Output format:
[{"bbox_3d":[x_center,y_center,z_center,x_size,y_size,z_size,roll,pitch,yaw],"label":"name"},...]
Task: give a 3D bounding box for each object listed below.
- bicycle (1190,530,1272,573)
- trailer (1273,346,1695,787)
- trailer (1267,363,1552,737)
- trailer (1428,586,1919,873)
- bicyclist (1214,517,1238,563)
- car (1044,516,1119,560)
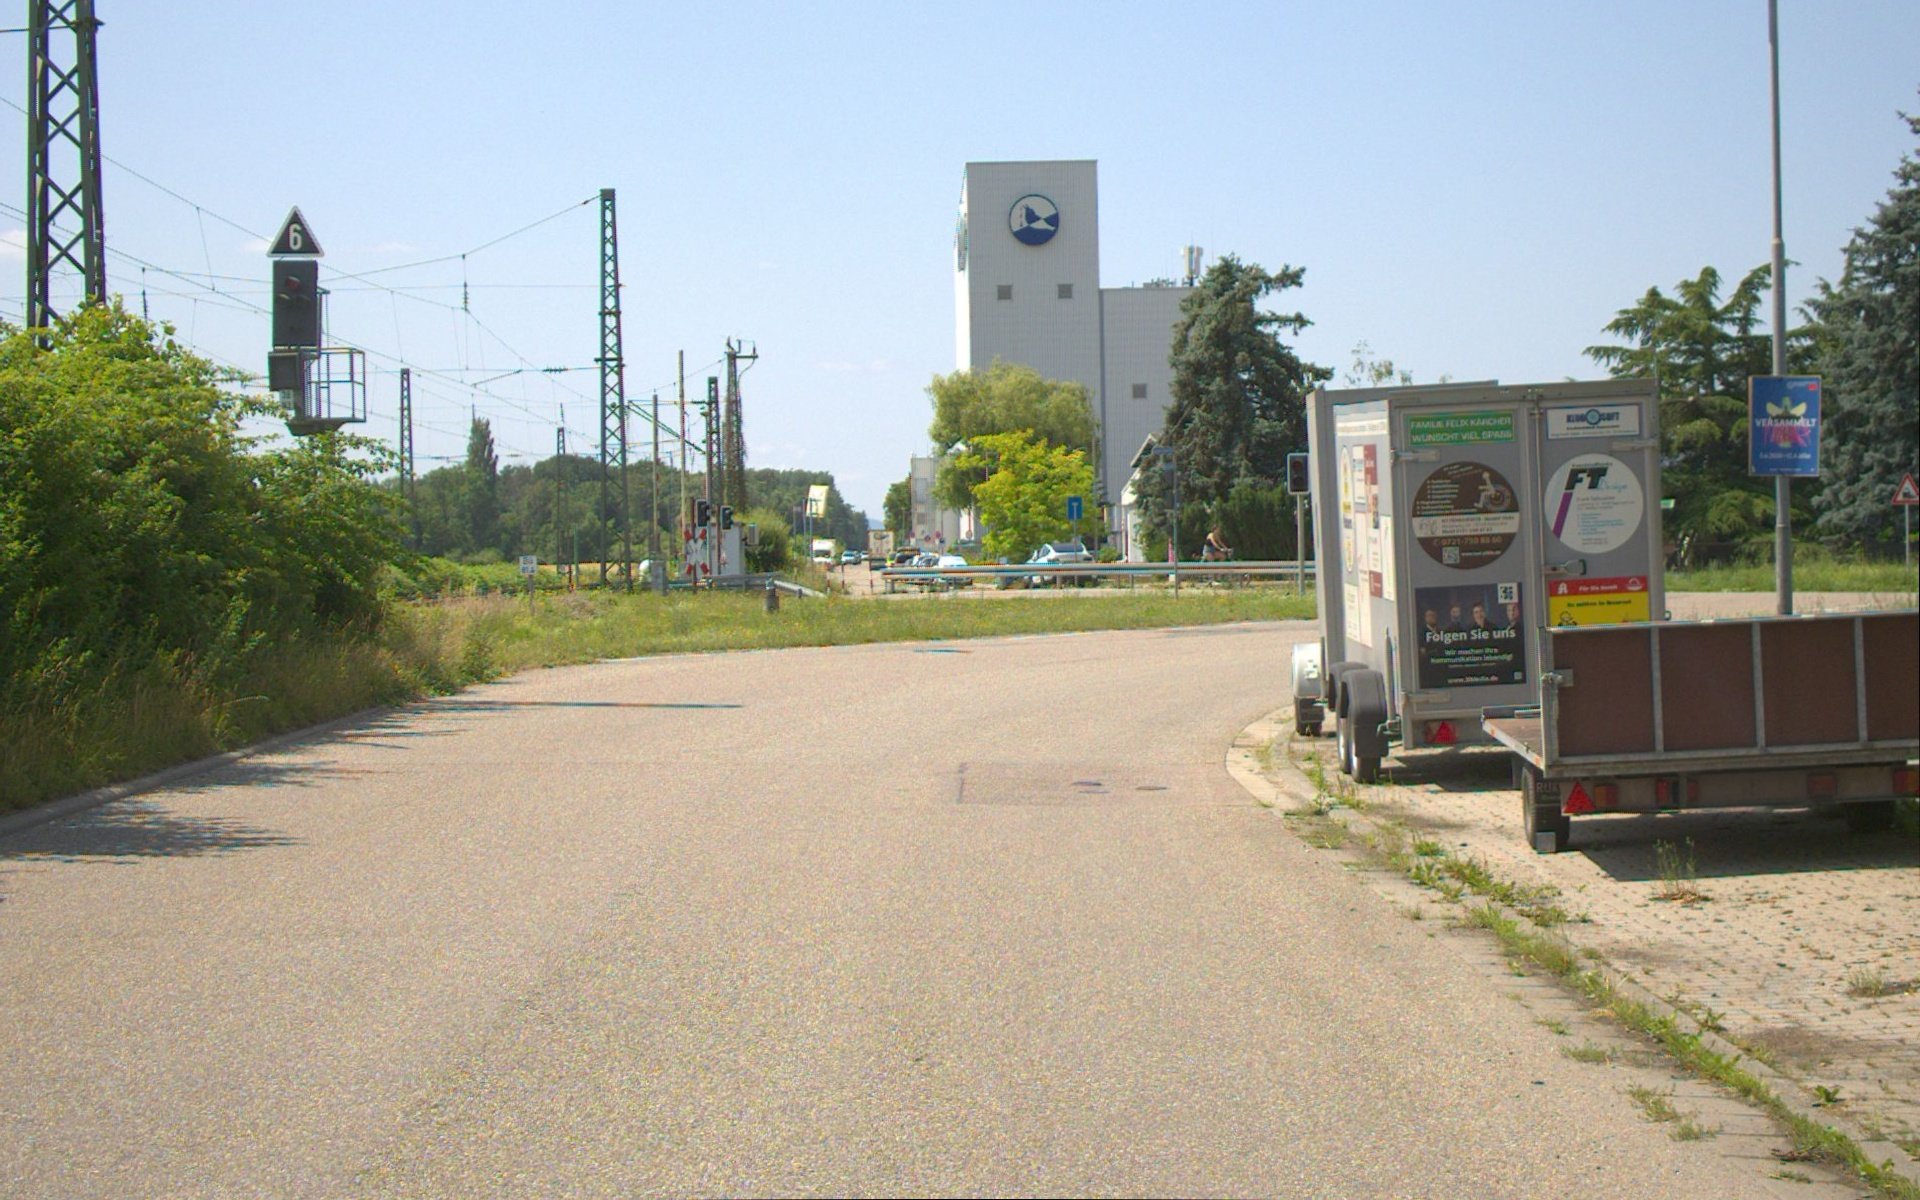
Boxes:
[{"bbox_3d":[7.487,-1.337,95.048,2.142,1.161,0.660,0,1,27],"label":"bicycle"},{"bbox_3d":[3.308,-0.238,22.651,1.919,2.499,4.741,-3,1,0],"label":"trailer"},{"bbox_3d":[3.528,-0.418,27.770,1.933,2.635,5.183,-3,1,5],"label":"trailer"},{"bbox_3d":[3.593,0.556,17.194,2.005,1.119,4.488,-3,0,2],"label":"trailer"},{"bbox_3d":[7.353,-1.661,95.098,0.510,1.251,0.469,0,1,27],"label":"bicyclist"},{"bbox_3d":[4.236,-2.179,120.688,1.993,1.504,4.455,-1,1,-6],"label":"car"}]
